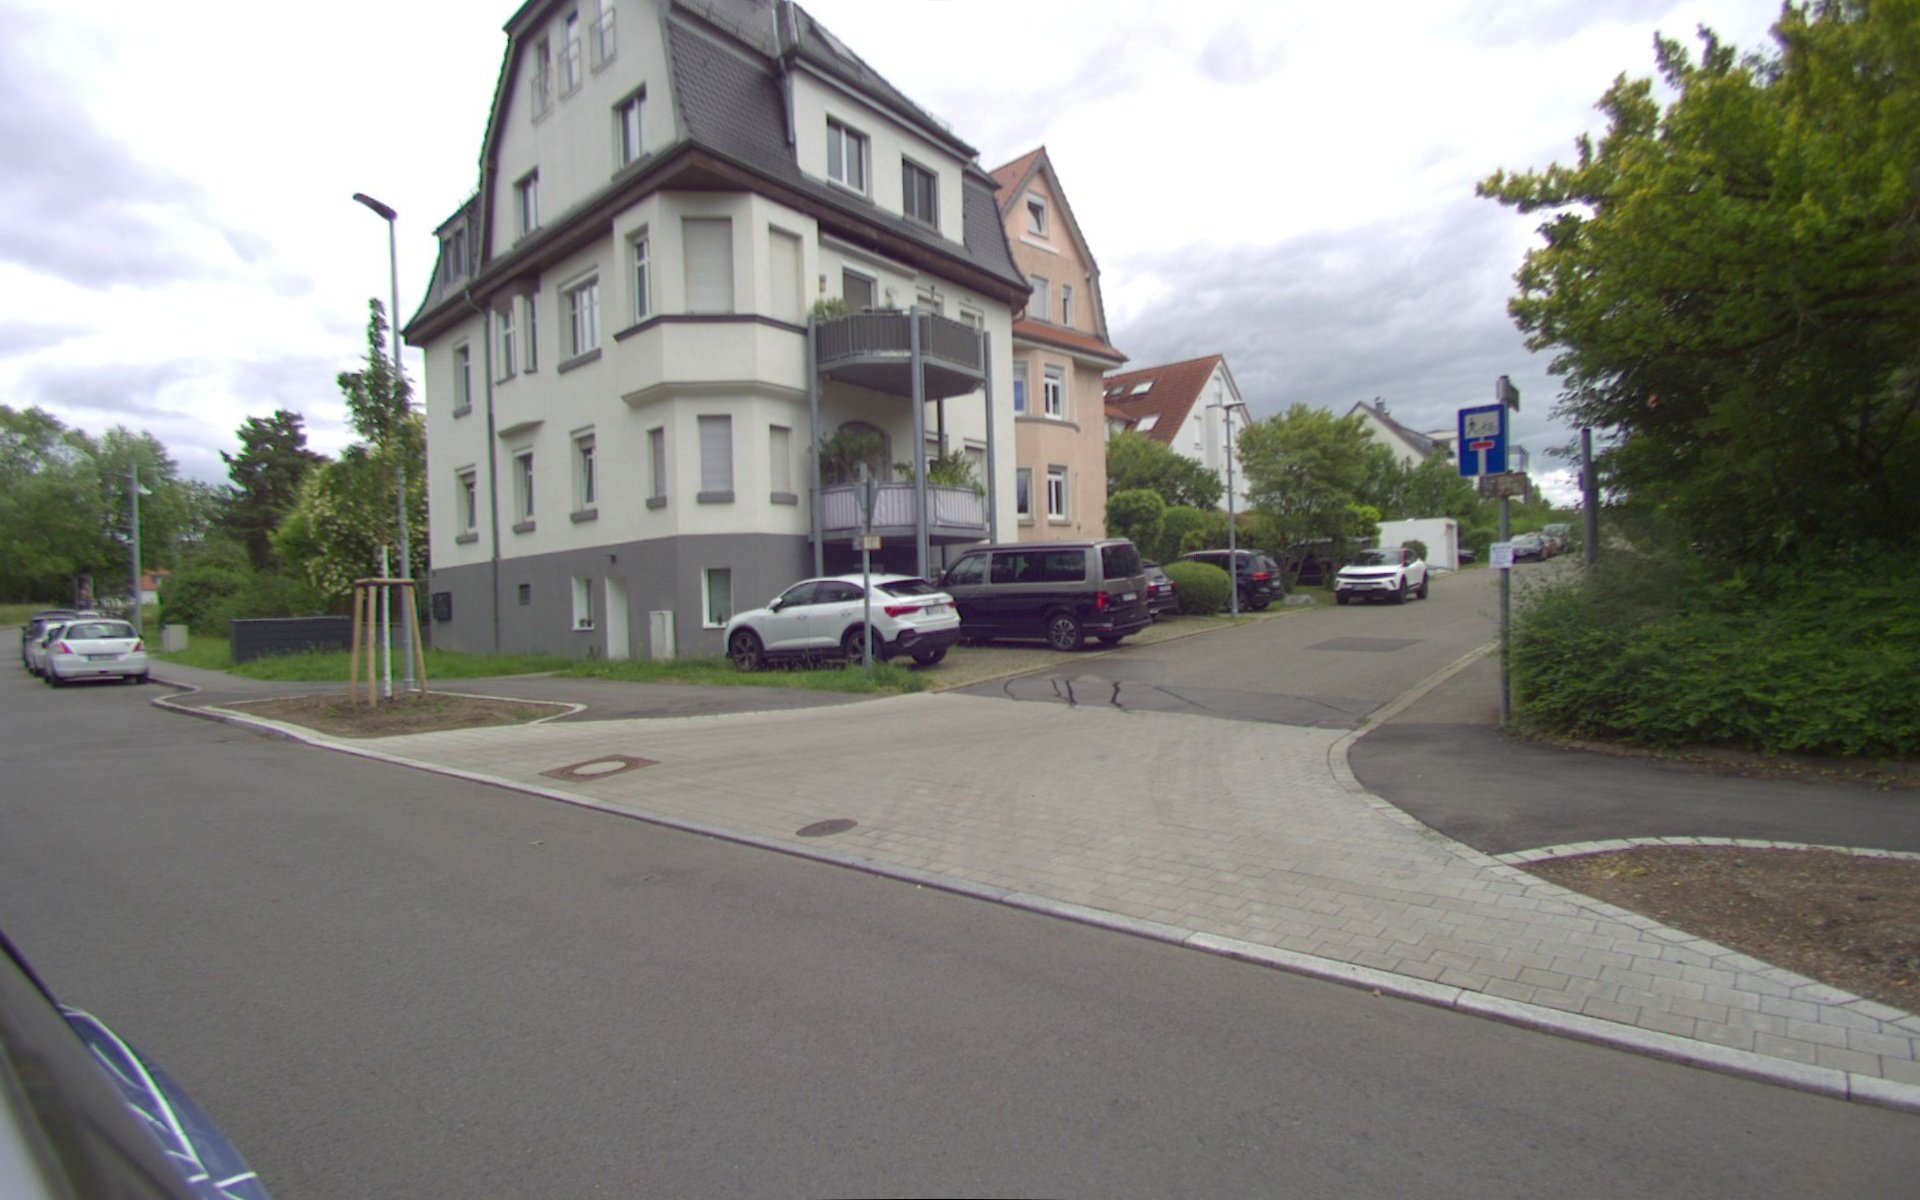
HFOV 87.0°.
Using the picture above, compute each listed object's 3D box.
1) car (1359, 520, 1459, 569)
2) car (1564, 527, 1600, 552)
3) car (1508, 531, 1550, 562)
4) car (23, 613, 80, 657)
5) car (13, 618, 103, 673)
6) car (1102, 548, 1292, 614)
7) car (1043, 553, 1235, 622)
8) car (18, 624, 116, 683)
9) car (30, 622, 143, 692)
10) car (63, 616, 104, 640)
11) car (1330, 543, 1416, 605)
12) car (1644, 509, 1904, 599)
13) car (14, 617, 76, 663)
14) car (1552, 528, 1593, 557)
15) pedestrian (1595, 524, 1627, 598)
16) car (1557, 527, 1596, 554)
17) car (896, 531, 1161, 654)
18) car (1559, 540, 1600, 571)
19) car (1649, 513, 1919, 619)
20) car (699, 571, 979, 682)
[{"bbox_3d":[21.128,-2.565,47.680,3.993,2.131,1.949,0,0,37],"label":"car"},{"bbox_3d":[43.347,-4.250,70.507,1.896,1.622,4.316,0,4,35],"label":"car"},{"bbox_3d":[30.142,-2.833,53.556,1.601,1.563,3.546,0,2,35],"label":"car"},{"bbox_3d":[-39.772,1.477,44.340,1.774,1.814,4.070,1,-1,-41],"label":"car"},{"bbox_3d":[-28.165,1.400,31.559,4.816,1.585,1.707,-2,-3,44],"label":"car"},{"bbox_3d":[6.468,-0.515,27.870,4.756,1.638,1.850,0,4,37],"label":"car"},{"bbox_3d":[4.321,-0.301,24.726,4.314,1.509,1.665,0,4,37],"label":"car"},{"bbox_3d":[-24.496,1.402,27.710,4.729,1.400,1.705,0,-1,45],"label":"car"},{"bbox_3d":[-20.422,1.253,23.611,4.072,1.481,1.624,-1,-1,44],"label":"car"},{"bbox_3d":[-54.469,1.724,62.944,1.709,1.439,3.465,0,-1,-37],"label":"car"},{"bbox_3d":[11.874,-0.785,28.938,1.758,1.582,3.961,-2,2,29],"label":"car"},{"bbox_3d":[17.621,-0.954,22.161,4.202,1.544,1.910,-4,0,38],"label":"car"},{"bbox_3d":[-34.284,1.455,37.947,1.641,1.594,4.083,1,-1,-42],"label":"car"},{"bbox_3d":[37.278,-3.526,61.577,1.896,1.622,4.316,0,4,35],"label":"car"},{"bbox_3d":[15.863,-0.947,24.654,0.562,1.785,0.564,0,3,41],"label":"pedestrian"},{"bbox_3d":[40.054,-3.878,65.693,1.896,1.622,4.316,0,4,35],"label":"car"},{"bbox_3d":[1.224,-0.167,19.314,4.756,2.066,1.888,0,3,37],"label":"car"},{"bbox_3d":[34.469,-2.507,56.355,1.758,1.582,3.961,-2,2,29],"label":"car"},{"bbox_3d":[14.877,-0.593,17.770,4.408,1.544,1.975,-4,0,38],"label":"car"},{"bbox_3d":[-2.114,0.369,16.974,4.589,1.544,1.888,0,4,37],"label":"car"}]
